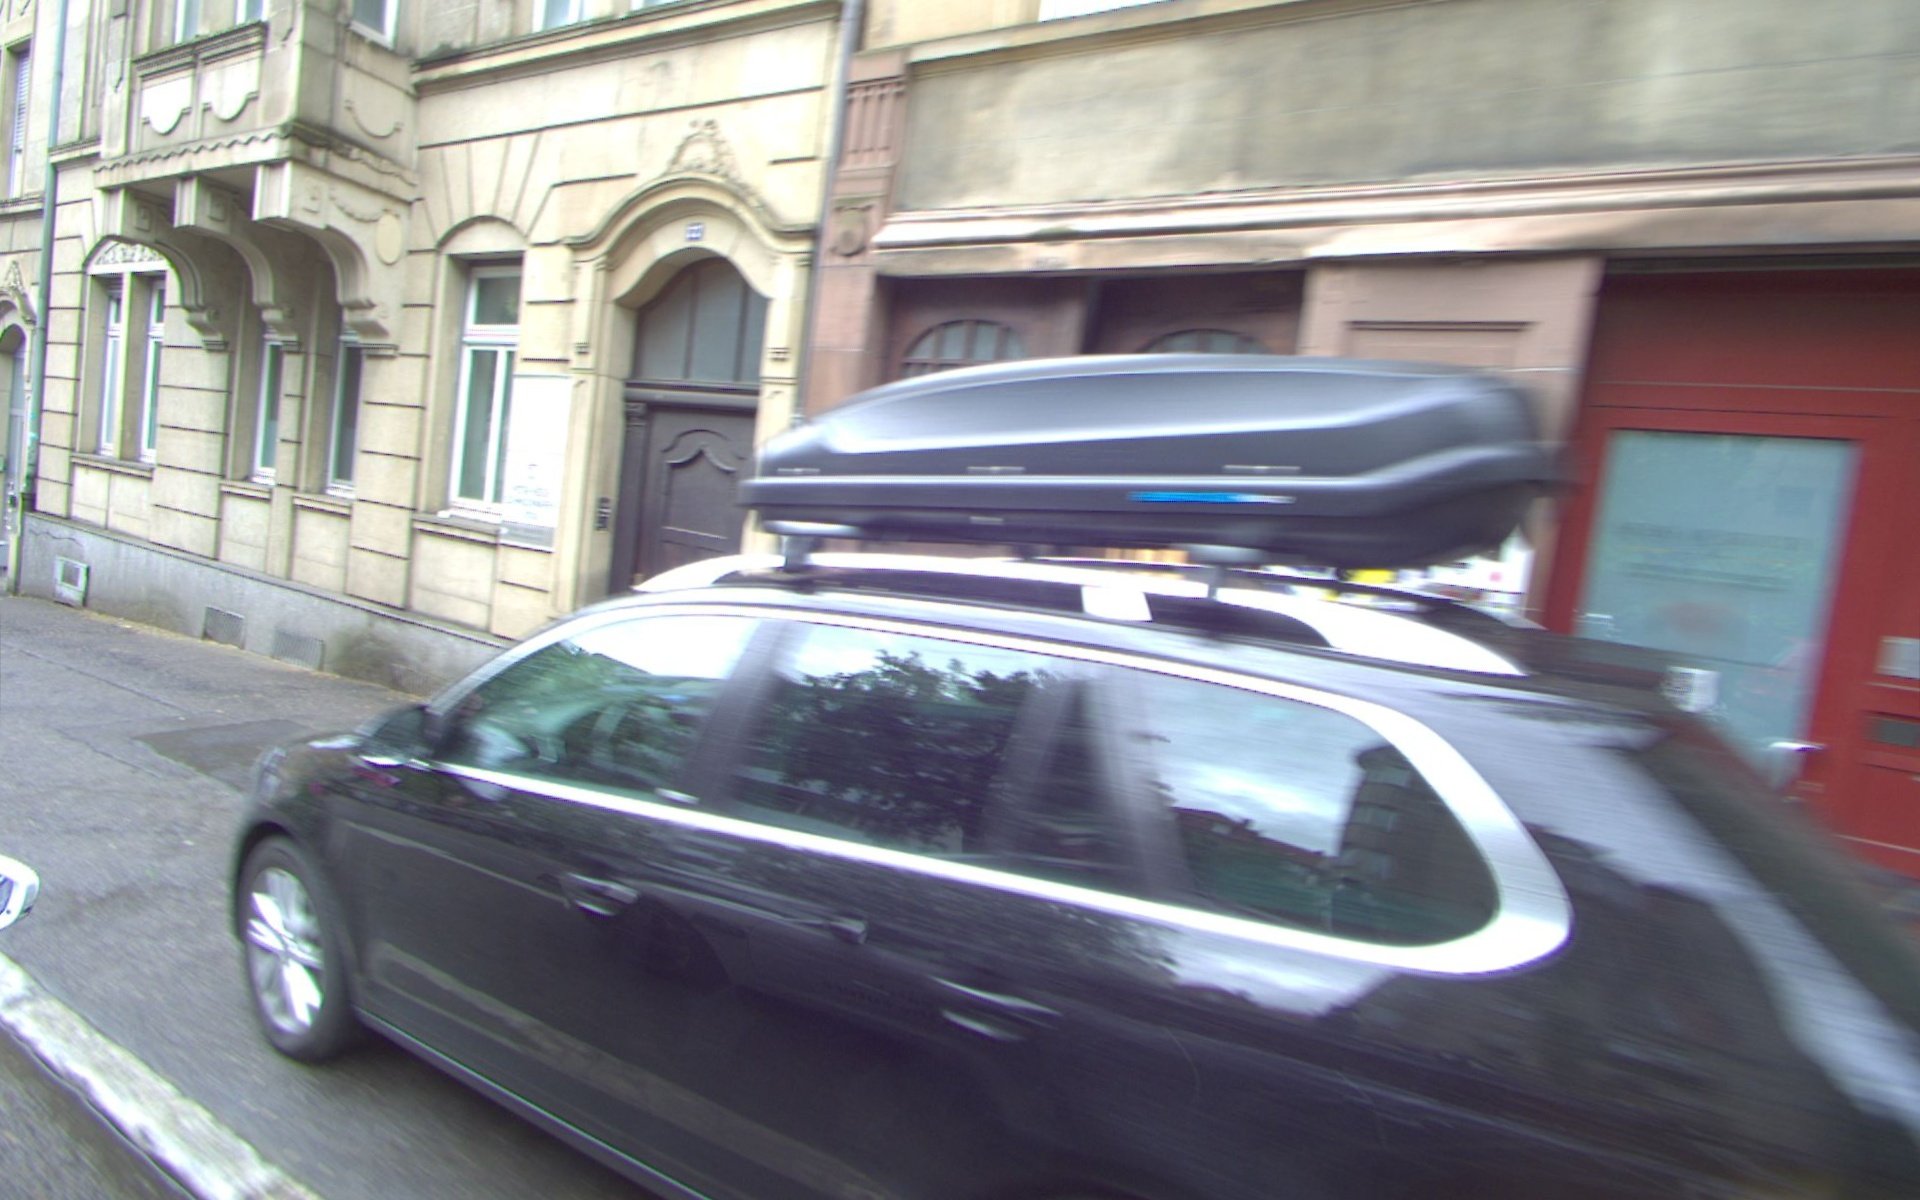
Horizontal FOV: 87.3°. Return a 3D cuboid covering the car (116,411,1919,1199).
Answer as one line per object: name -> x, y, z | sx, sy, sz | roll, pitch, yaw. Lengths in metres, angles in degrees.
car -> -0.269, 0.489, 2.564 | 4.031, 1.675, 1.757 | 7, 6, 32
